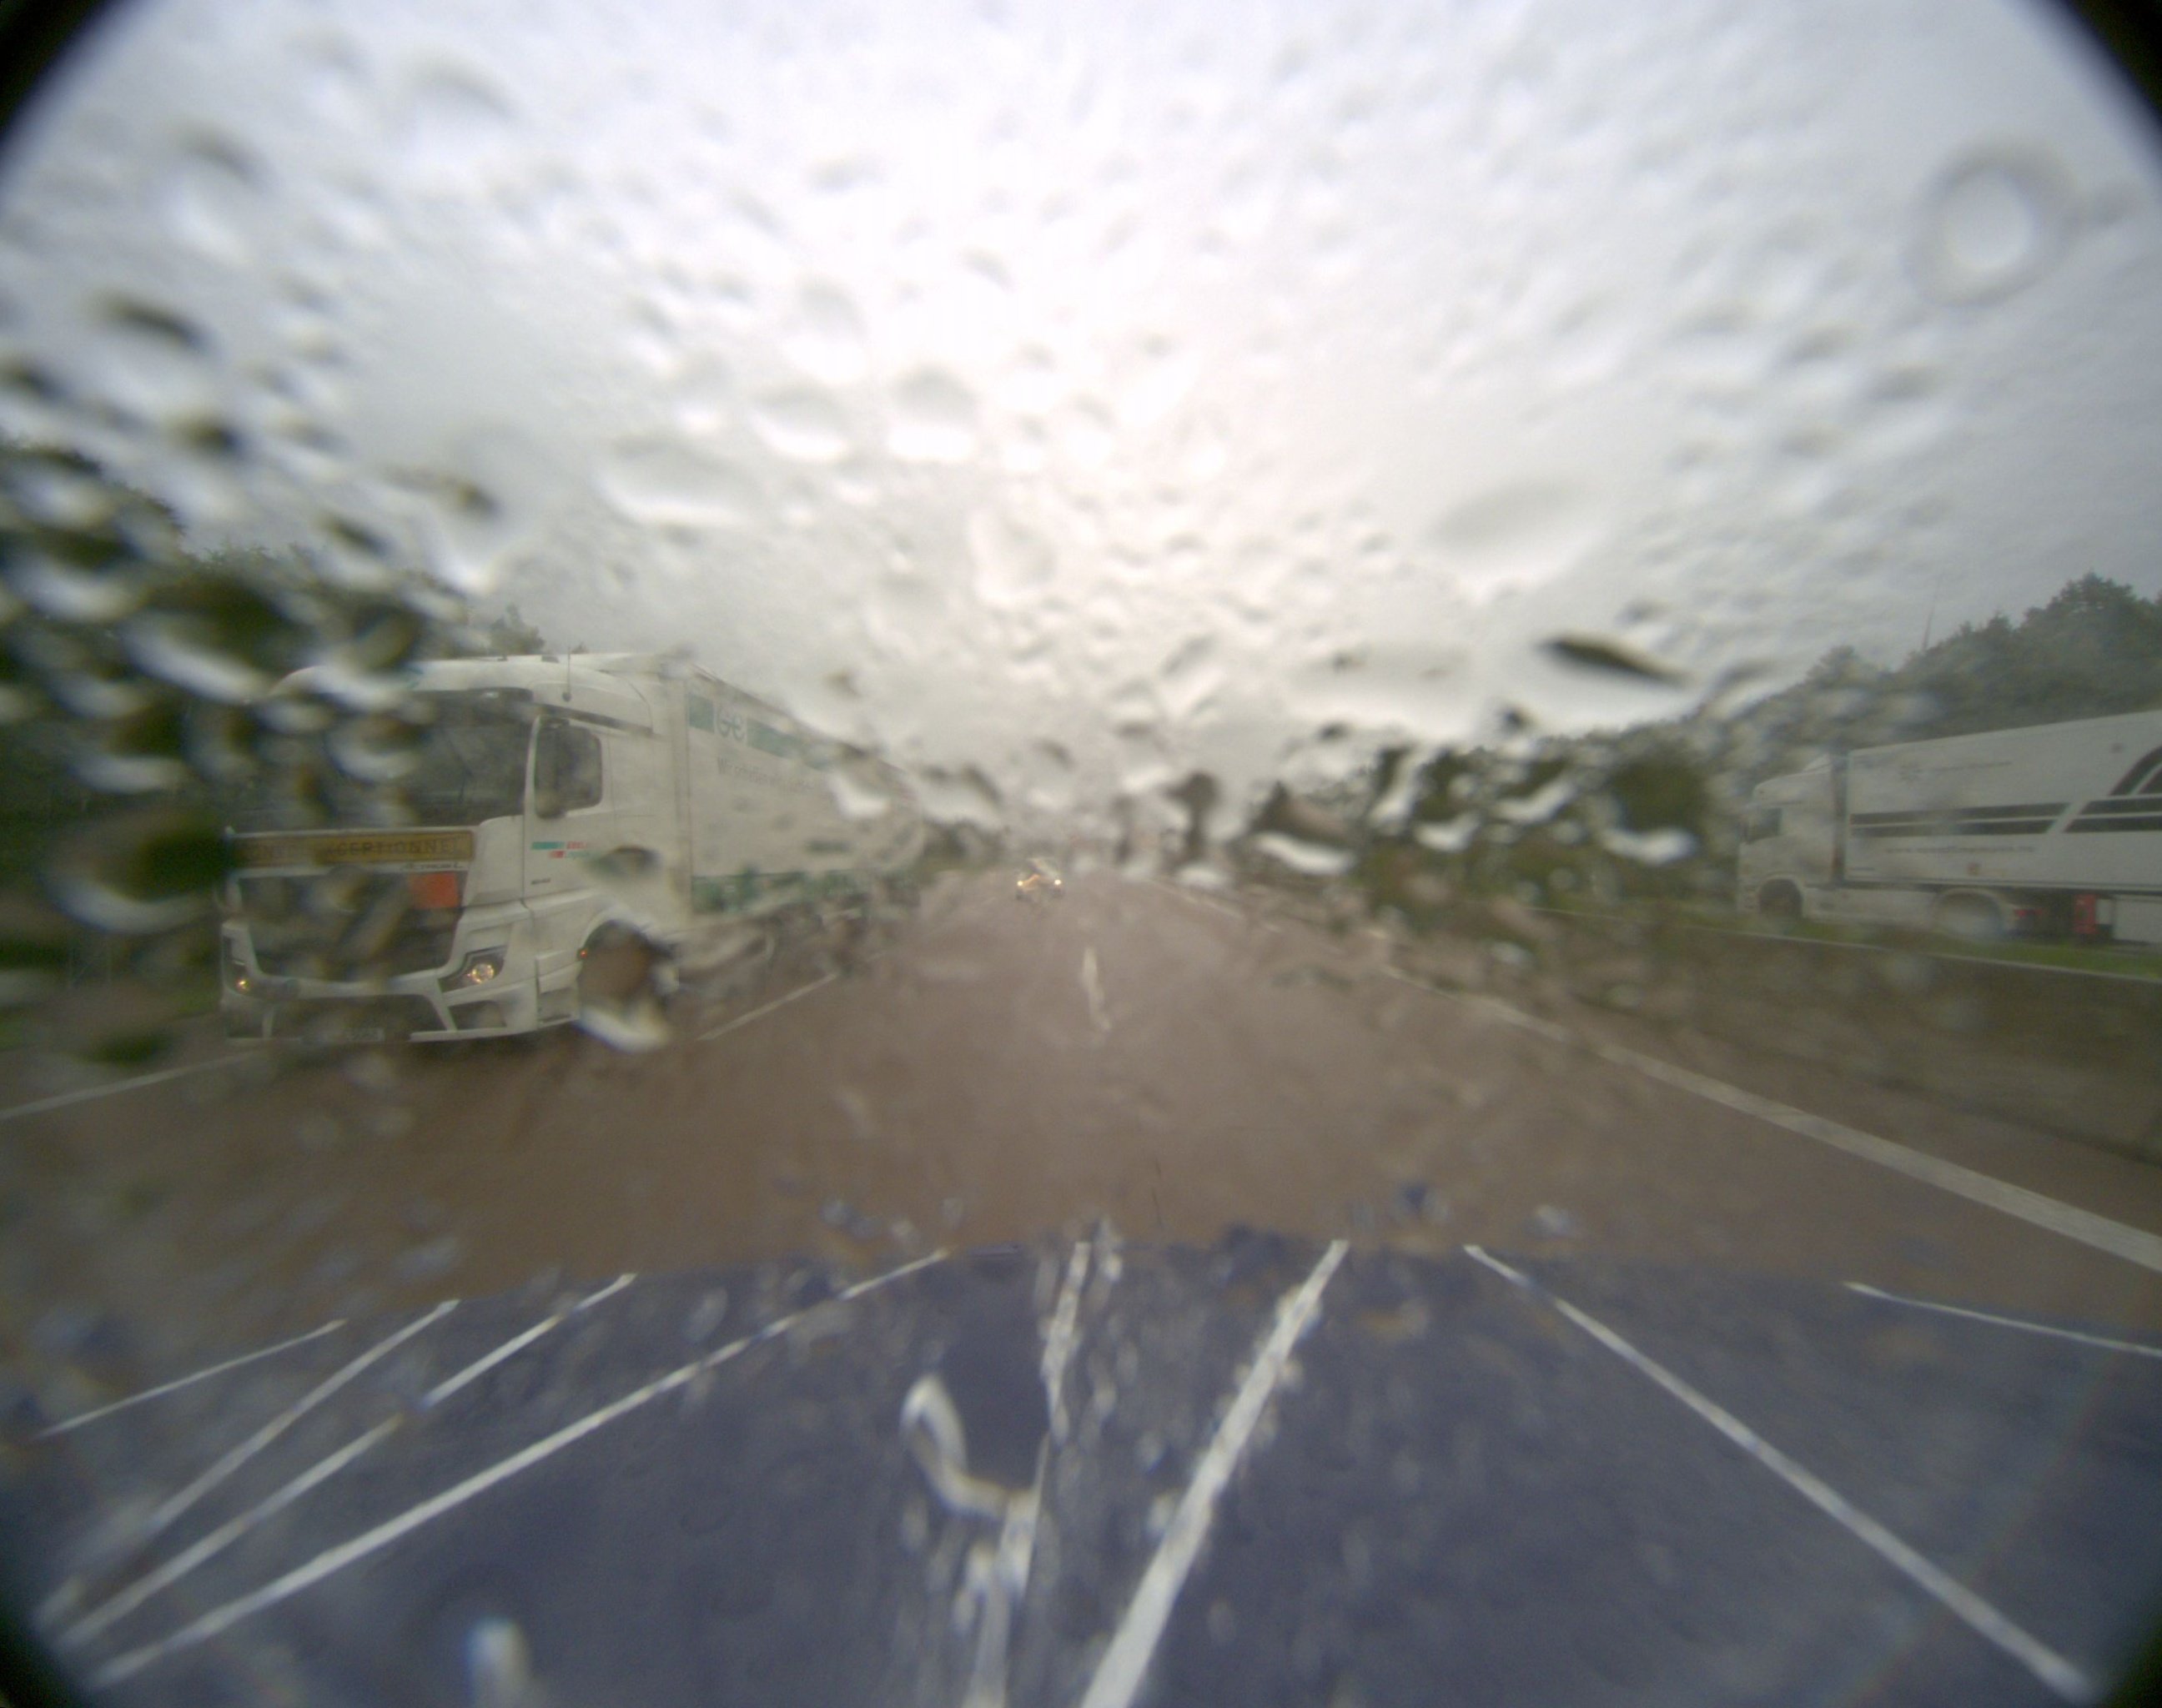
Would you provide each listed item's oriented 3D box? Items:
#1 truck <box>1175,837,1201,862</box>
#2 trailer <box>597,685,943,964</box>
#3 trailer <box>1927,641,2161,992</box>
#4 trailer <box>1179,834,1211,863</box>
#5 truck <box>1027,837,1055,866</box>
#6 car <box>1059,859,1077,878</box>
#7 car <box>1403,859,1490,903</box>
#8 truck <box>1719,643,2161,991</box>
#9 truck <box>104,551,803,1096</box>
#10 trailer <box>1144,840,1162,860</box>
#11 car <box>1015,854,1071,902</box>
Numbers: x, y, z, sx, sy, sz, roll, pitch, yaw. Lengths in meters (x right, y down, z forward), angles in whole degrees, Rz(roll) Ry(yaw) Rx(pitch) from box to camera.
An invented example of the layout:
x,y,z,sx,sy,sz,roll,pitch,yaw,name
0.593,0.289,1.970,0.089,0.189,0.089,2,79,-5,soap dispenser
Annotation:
x,y,z,sx,sy,sz,roll,pitch,yaw,name
18.607,-0.707,132.148,3.428,4.334,7.947,0,0,0,truck
-5.877,-0.378,18.019,2.860,4.206,13.132,0,0,0,trailer
18.326,-0.596,7.793,3.439,5.409,14.235,-2,0,0,trailer
18.563,-0.836,124.904,3.439,4.439,12.446,0,0,0,trailer
-5.428,-0.346,103.711,3.242,3.708,7.954,-2,0,1,truck
-1.446,1.641,86.179,1.999,2.002,4.276,0,0,-1,car
12.079,0.864,25.297,1.419,1.349,3.084,1,0,1,car
18.339,-0.644,15.668,3.428,5.347,8.157,-2,1,0,truck
-5.859,-0.196,8.864,2.888,4.082,6.349,0,0,0,truck
18.445,-1.109,194.689,3.438,4.838,12.444,-2,0,1,trailer
-1.432,0.883,30.364,1.812,1.718,4.744,-1,0,2,car
